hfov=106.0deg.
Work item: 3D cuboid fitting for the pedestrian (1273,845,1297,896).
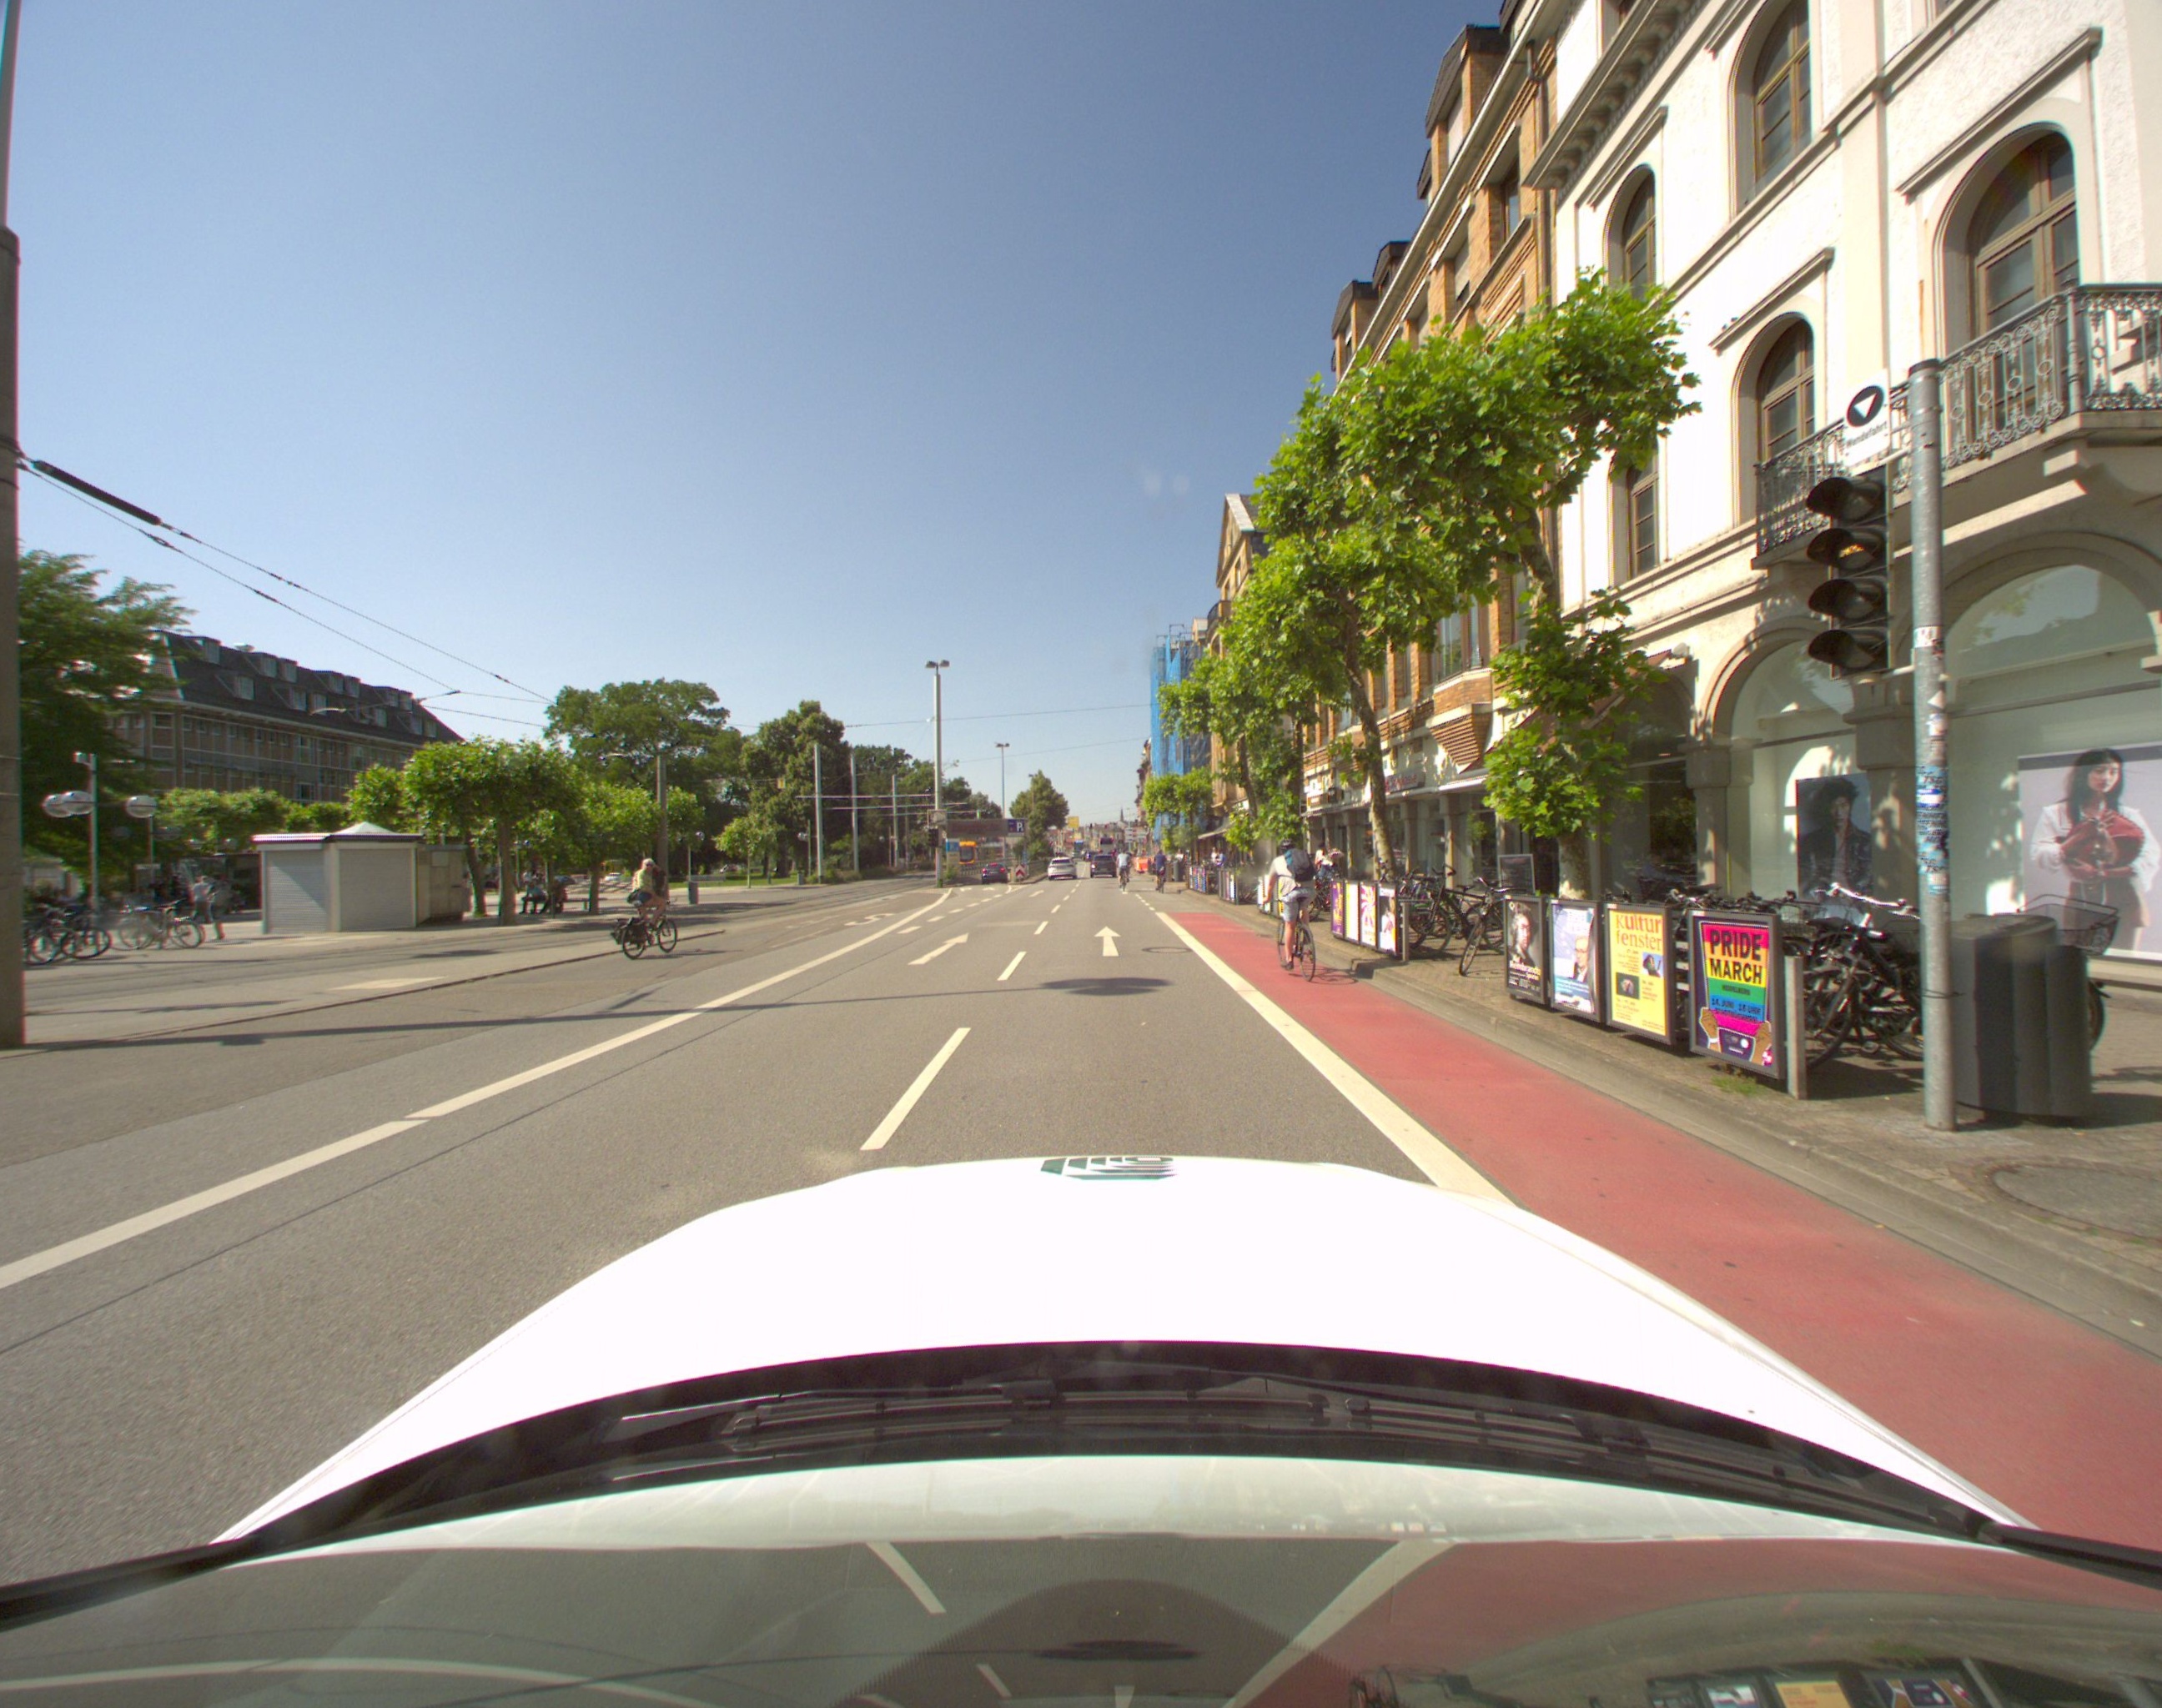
[{"bbox_3d":[7.394,0.584,29.556,0.664,1.781,0.986,-2,-1,5],"label":"pedestrian"}]

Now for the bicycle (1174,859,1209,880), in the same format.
[{"bbox_3d":[5.792,0.811,42.818,1.747,1.018,0.557,-1,0,-2],"label":"bicycle"}]

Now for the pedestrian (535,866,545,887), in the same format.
[{"bbox_3d":[-41.663,1.713,62.720,0.413,1.609,0.493,-4,0,-8],"label":"pedestrian"}]

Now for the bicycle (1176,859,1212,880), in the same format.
[{"bbox_3d":[5.786,0.804,41.668,1.747,1.018,0.482,-1,0,-2],"label":"bicycle"}]

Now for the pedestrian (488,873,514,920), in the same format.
[{"bbox_3d":[-20.429,1.486,28.688,0.577,1.609,0.598,-4,0,-28],"label":"pedestrian"}]

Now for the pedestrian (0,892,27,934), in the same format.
[{"bbox_3d":[-39.117,2.150,29.601,0.620,1.465,0.681,-4,0,5],"label":"pedestrian"}]

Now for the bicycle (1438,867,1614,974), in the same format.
[{"bbox_3d":[5.065,0.741,9.320,1.747,1.147,0.482,-1,0,-2],"label":"bicycle"}]

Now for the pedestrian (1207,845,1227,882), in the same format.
[{"bbox_3d":[6.189,0.445,37.056,0.600,1.626,0.641,-4,0,-15],"label":"pedestrian"}]

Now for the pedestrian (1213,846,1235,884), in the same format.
[{"bbox_3d":[6.378,0.499,36.334,0.696,1.626,0.699,-3,0,-14],"label":"pedestrian"}]

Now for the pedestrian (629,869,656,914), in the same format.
[{"bbox_3d":[-16.513,1.406,30.702,0.521,1.609,0.628,-4,0,10],"label":"pedestrian"}]

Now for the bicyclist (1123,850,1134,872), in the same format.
[{"bbox_3d":[3.470,0.529,59.519,0.686,1.577,1.049,0,0,-1],"label":"bicyclist"}]

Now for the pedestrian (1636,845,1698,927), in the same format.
[{"bbox_3d":[9.318,0.489,12.948,0.719,1.252,0.595,0,-1,44],"label":"pedestrian"}]

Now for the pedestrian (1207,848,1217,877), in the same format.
[{"bbox_3d":[7.654,0.473,47.507,0.377,1.683,0.479,-3,-1,22],"label":"pedestrian"}]

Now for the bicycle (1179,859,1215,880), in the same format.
[{"bbox_3d":[5.842,0.802,41.139,1.747,1.018,0.482,-1,0,-2],"label":"bicycle"}]

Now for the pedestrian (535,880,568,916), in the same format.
[{"bbox_3d":[-19.585,1.609,30.157,0.674,1.246,0.751,-4,0,-5],"label":"pedestrian"}]

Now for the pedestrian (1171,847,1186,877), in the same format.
[{"bbox_3d":[5.604,0.458,46.841,0.658,1.683,0.650,-1,-1,-16],"label":"pedestrian"}]

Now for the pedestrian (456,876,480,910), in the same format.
[{"bbox_3d":[-32.899,2.083,43.706,0.674,1.706,0.705,-3,0,0],"label":"pedestrian"}]

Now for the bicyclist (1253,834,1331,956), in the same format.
[{"bbox_3d":[2.665,0.493,10.399,0.686,1.463,1.143,0,0,-1],"label":"bicyclist"}]

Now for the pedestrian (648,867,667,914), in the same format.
[{"bbox_3d":[-15.886,1.361,30.560,0.528,1.733,0.582,-4,0,-29],"label":"pedestrian"}]

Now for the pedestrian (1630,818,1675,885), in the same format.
[{"bbox_3d":[12.614,-0.063,17.986,0.594,1.455,0.646,0,0,9],"label":"pedestrian"}]

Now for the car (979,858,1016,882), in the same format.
[{"bbox_3d":[-5.617,1.056,55.368,1.986,1.508,4.002,0,0,2],"label":"car"}]

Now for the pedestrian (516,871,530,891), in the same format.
[{"bbox_3d":[-43.560,2.115,63.583,0.524,1.493,0.660,-4,0,-7],"label":"pedestrian"}]

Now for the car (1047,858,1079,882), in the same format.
[{"bbox_3d":[-1.135,1.022,53.168,1.851,1.507,4.002,0,0,2],"label":"car"}]

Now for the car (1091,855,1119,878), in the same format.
[{"bbox_3d":[1.633,0.814,55.325,1.866,1.492,4.002,0,0,2],"label":"car"}]

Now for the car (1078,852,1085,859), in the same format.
[{"bbox_3d":[0.097,0.244,160.045,1.446,1.300,3.342,0,0,1],"label":"car"}]

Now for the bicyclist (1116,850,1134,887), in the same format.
[{"bbox_3d":[1.865,0.607,34.513,0.686,1.577,1.049,0,0,-1],"label":"bicyclist"}]

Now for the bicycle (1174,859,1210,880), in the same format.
[{"bbox_3d":[5.753,0.786,42.274,1.748,1.018,0.587,-2,0,-2],"label":"bicycle"}]

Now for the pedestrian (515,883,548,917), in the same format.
[{"bbox_3d":[-20.677,1.718,30.672,0.674,1.171,0.751,-4,0,-5],"label":"pedestrian"}]

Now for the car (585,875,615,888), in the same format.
[{"bbox_3d":[-62.383,3.557,105.691,1.752,1.508,3.993,0,0,-5],"label":"car"}]

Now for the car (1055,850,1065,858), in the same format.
[{"bbox_3d":[-3.465,0.073,133.362,1.446,1.300,4.002,0,0,2],"label":"car"}]

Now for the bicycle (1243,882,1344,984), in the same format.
[{"bbox_3d":[2.656,0.949,10.426,0.732,1.093,2.130,0,0,0],"label":"bicycle"}]

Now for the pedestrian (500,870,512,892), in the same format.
[{"bbox_3d":[-44.490,2.103,63.011,0.492,1.609,0.619,-4,0,-9],"label":"pedestrian"}]

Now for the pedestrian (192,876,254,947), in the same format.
[{"bbox_3d":[-22.401,1.480,21.282,0.753,1.728,0.833,-4,0,-22],"label":"pedestrian"}]

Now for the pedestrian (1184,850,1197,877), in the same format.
[{"bbox_3d":[7.740,0.694,57.621,0.810,1.848,0.893,-3,-1,8],"label":"pedestrian"}]

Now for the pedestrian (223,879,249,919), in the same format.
[{"bbox_3d":[-38.596,2.039,37.202,0.546,1.748,0.627,-3,0,-21],"label":"pedestrian"}]

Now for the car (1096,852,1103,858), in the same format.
[{"bbox_3d":[4.092,0.228,181.530,1.446,1.300,3.342,0,0,1],"label":"car"}]

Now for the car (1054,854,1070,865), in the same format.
[{"bbox_3d":[-2.431,0.701,105.576,1.808,1.332,4.002,0,0,2],"label":"car"}]

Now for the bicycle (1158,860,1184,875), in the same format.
[{"bbox_3d":[6.104,0.924,55.270,1.747,1.018,0.482,-1,0,-2],"label":"bicycle"}]

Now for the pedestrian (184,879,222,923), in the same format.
[{"bbox_3d":[-30.166,1.605,27.992,0.683,1.465,0.618,-4,1,-36],"label":"pedestrian"}]

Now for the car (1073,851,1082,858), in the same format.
[{"bbox_3d":[-0.633,0.115,142.604,1.446,1.300,4.002,0,0,2],"label":"car"}]

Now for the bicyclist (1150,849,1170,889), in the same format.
[{"bbox_3d":[3.191,0.594,32.893,0.686,1.616,0.918,0,0,0],"label":"bicyclist"}]

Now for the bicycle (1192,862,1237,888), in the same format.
[{"bbox_3d":[5.465,0.845,33.466,1.747,1.018,0.482,-1,0,-2],"label":"bicycle"}]

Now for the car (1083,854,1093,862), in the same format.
[{"bbox_3d":[1.067,0.590,124.881,1.446,1.300,3.342,0,0,1],"label":"car"}]

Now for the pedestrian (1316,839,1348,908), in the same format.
[{"bbox_3d":[6.029,0.456,19.587,0.648,1.633,0.732,0,0,10],"label":"pedestrian"}]

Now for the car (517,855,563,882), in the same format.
[{"bbox_3d":[-67.525,1.750,101.782,2.119,3.316,5.420,0,0,0],"label":"car"}]

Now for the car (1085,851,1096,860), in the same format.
[{"bbox_3d":[1.345,0.181,113.053,1.447,1.300,3.340,0,0,-1],"label":"car"}]

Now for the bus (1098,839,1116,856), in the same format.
[{"bbox_3d":[4.401,-1.047,136.554,2.957,2.776,8.647,0,0,3],"label":"bus"}]

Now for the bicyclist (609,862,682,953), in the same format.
[{"bbox_3d":[-8.242,0.985,15.453,0.815,1.622,0.903,-2,1,1],"label":"bicyclist"}]
